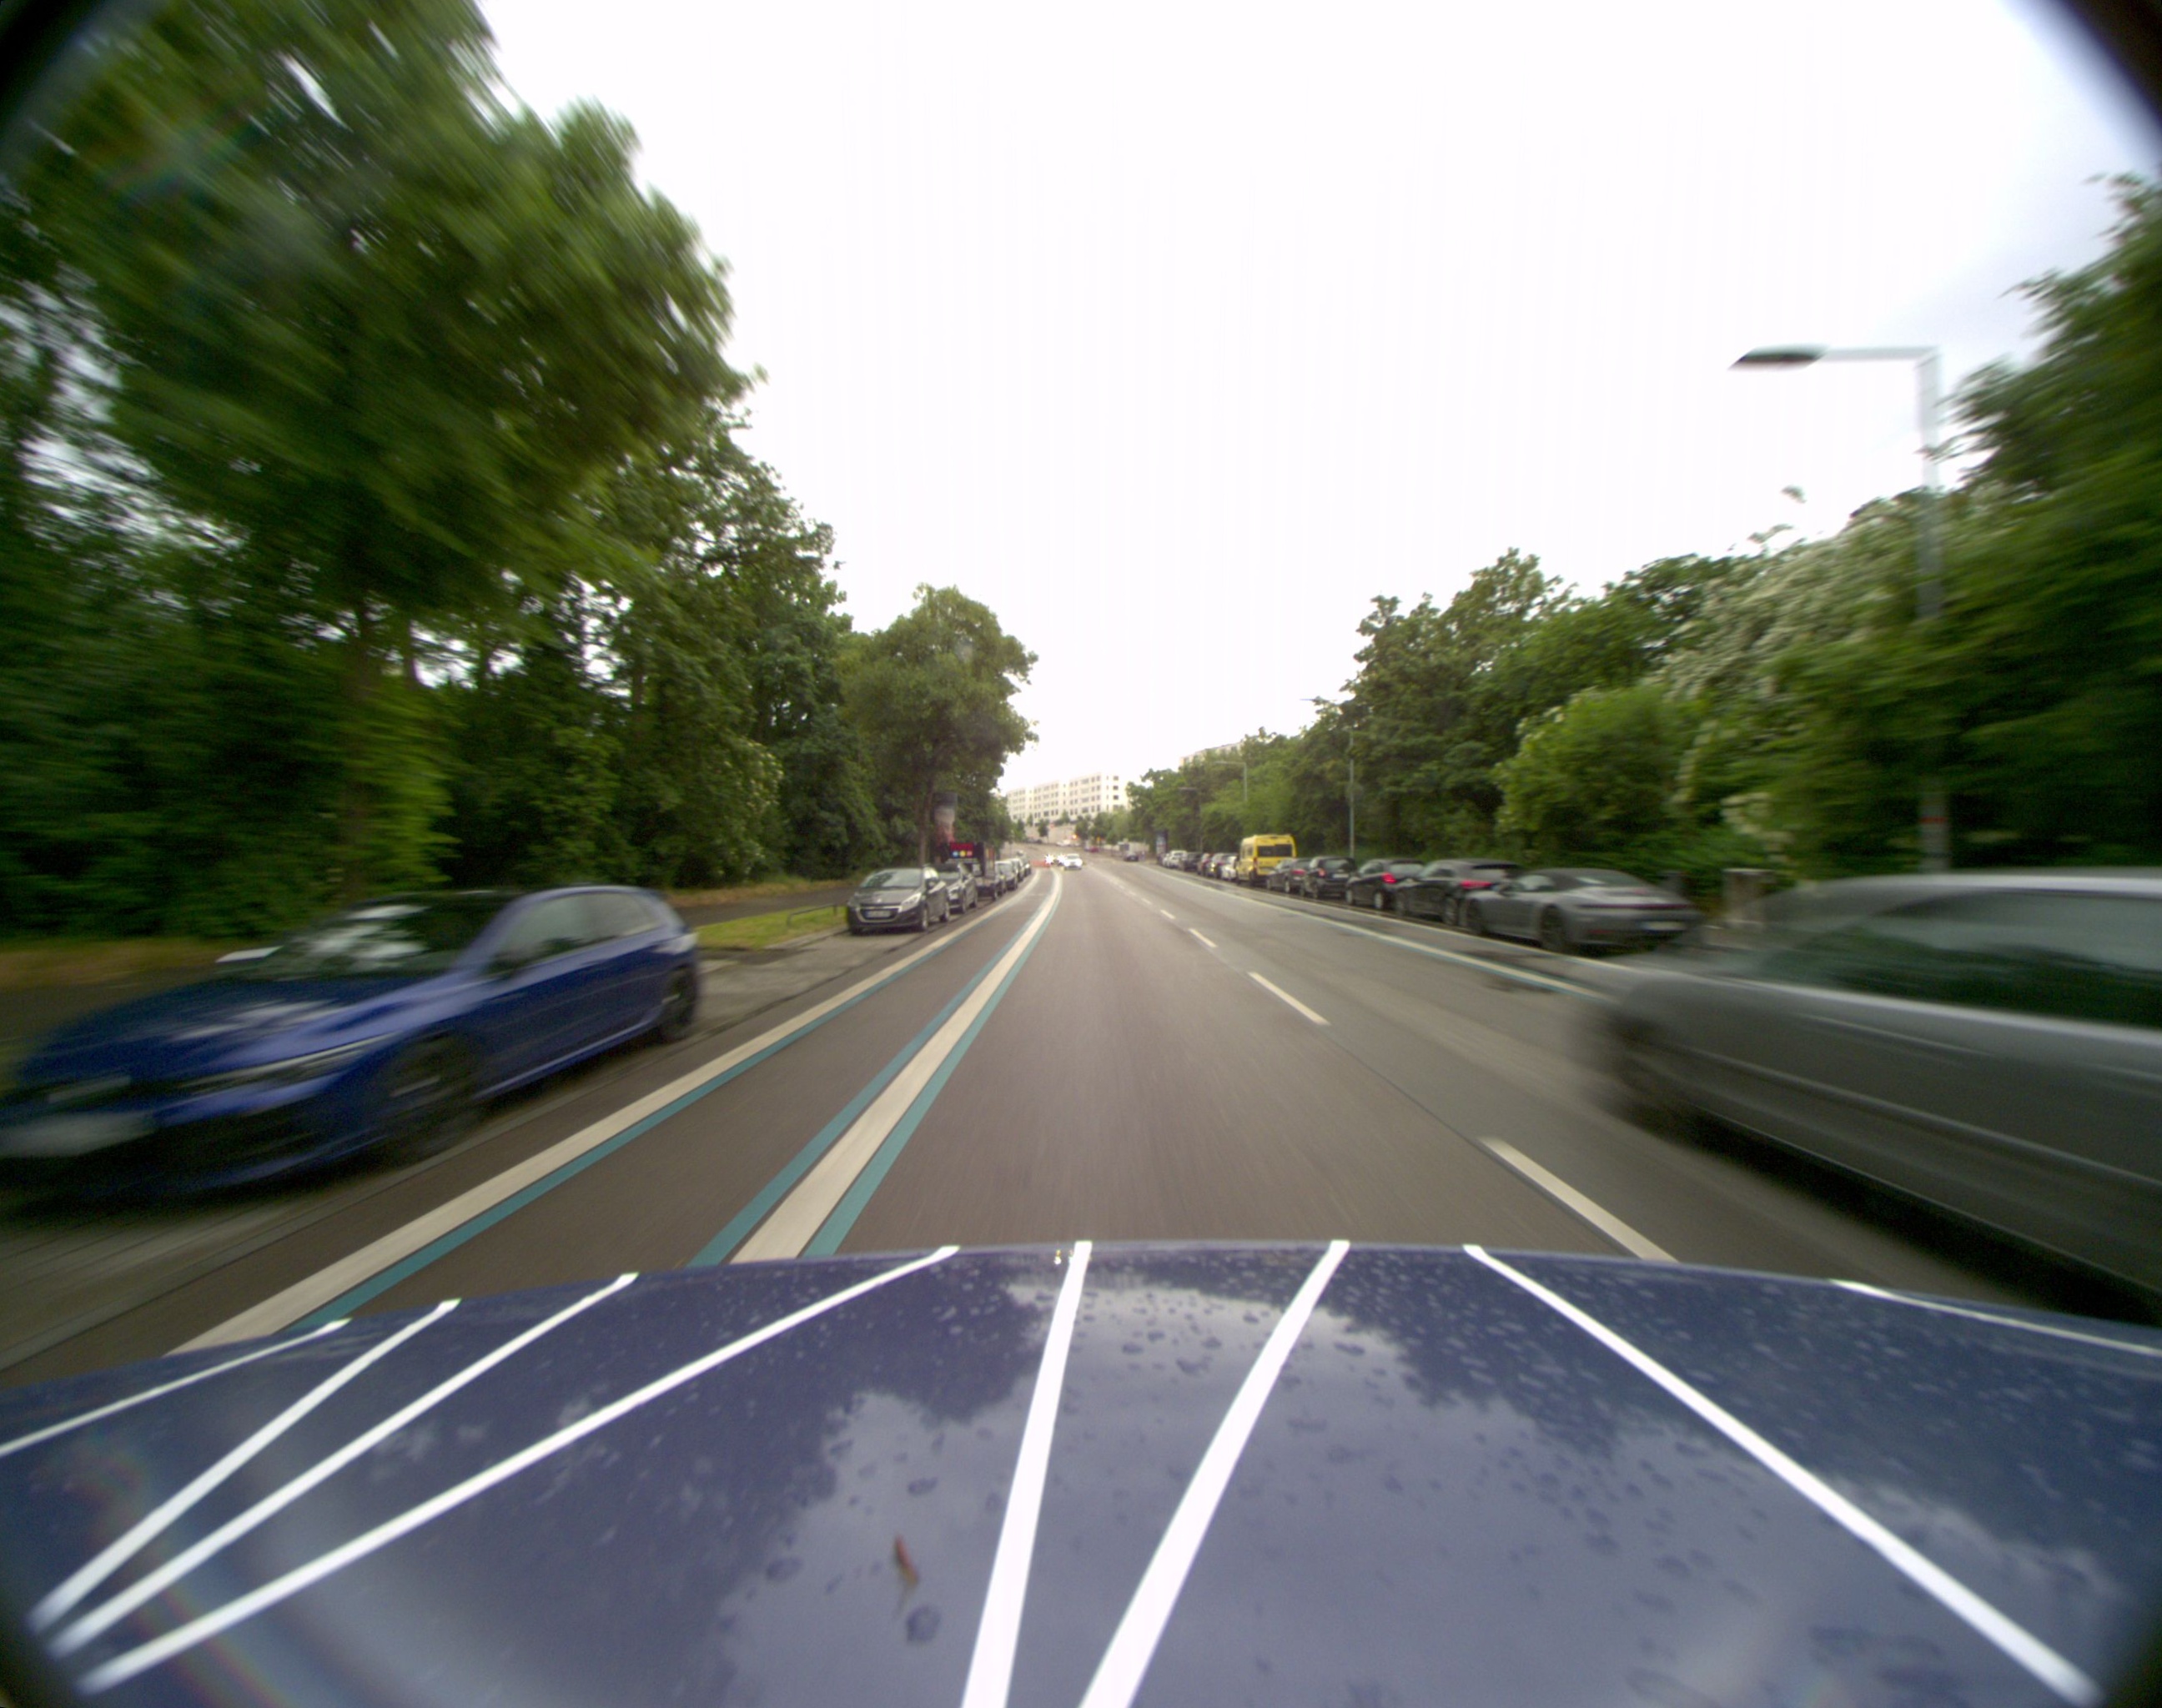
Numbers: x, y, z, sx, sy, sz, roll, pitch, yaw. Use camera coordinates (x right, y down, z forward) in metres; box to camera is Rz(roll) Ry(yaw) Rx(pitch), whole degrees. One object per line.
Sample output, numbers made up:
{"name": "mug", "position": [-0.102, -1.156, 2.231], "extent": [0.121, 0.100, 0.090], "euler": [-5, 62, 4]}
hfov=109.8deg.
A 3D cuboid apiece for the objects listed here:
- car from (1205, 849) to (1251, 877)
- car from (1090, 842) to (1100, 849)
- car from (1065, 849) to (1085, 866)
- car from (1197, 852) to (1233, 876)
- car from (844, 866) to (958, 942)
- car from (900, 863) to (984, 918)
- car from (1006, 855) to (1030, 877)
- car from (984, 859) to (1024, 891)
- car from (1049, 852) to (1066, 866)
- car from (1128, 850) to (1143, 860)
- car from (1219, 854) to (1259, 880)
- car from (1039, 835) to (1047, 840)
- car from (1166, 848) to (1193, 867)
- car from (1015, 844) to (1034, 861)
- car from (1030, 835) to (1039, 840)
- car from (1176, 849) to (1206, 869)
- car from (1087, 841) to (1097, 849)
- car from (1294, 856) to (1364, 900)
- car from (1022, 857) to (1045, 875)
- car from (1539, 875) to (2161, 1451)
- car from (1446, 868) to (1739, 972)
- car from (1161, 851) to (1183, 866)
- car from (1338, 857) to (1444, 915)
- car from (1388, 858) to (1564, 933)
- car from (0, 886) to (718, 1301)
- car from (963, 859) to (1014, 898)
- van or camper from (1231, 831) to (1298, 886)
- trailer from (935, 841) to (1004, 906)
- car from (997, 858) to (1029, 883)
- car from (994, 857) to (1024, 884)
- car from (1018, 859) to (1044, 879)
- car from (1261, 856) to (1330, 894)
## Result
{"name": "car", "position": [9.541, 0.543, 49.604], "extent": [1.999, 1.690, 4.614], "euler": [-1, 0, -1]}
{"name": "car", "position": [3.351, -1.942, 176.422], "extent": [1.670, 1.578, 4.212], "euler": [-1, 3, -8]}
{"name": "car", "position": [-0.668, 0.375, 76.707], "extent": [1.927, 1.652, 3.999], "euler": [-1, 0, -2]}
{"name": "car", "position": [9.675, 0.714, 55.071], "extent": [1.924, 1.607, 4.489], "euler": [0, 1, 1]}
{"name": "car", "position": [-4.118, 1.096, 18.036], "extent": [1.619, 1.462, 4.000], "euler": [-2, 0, 1]}
{"name": "car", "position": [-4.211, 1.062, 23.707], "extent": [1.800, 1.442, 4.428], "euler": [-1, 0, 0]}
{"name": "car", "position": [-4.543, 0.865, 55.405], "extent": [1.564, 1.452, 3.674], "euler": [-2, 1, -3]}
{"name": "car", "position": [-3.981, 1.058, 39.716], "extent": [1.756, 1.385, 4.444], "euler": [-3, 1, -3]}
{"name": "car", "position": [-2.988, 0.584, 96.436], "extent": [1.830, 1.584, 3.997], "euler": [-2, 1, -6]}
{"name": "car", "position": [8.272, 0.117, 115.271], "extent": [1.911, 1.406, 4.781], "euler": [-2, 1, 0]}
{"name": "car", "position": [9.313, 0.738, 44.968], "extent": [1.621, 1.440, 3.657], "euler": [0, 0, 1]}
{"name": "car", "position": [-12.435, -5.360, 246.257], "extent": [1.683, 1.451, 2.689], "euler": [-1, 3, -26]}
{"name": "car", "position": [9.700, 0.336, 74.912], "extent": [1.999, 1.755, 4.959], "euler": [-1, 1, 0]}
{"name": "car", "position": [-5.719, -0.149, 77.207], "extent": [1.827, 1.605, 4.249], "euler": [-3, 1, -4]}
{"name": "car", "position": [-15.387, -5.417, 251.697], "extent": [1.866, 1.470, 3.990], "euler": [-1, 3, -26]}
{"name": "car", "position": [9.582, 0.408, 66.706], "extent": [1.736, 1.639, 4.569], "euler": [-2, 1, -3]}
{"name": "car", "position": [2.625, -2.106, 182.060], "extent": [1.769, 1.644, 4.878], "euler": [-2, 3, -8]}
{"name": "car", "position": [9.065, 0.829, 27.963], "extent": [1.606, 1.501, 3.139], "euler": [-1, 0, 2]}
{"name": "car", "position": [-4.214, 1.012, 66.908], "extent": [1.858, 1.391, 4.383], "euler": [-3, 1, -4]}
{"name": "car", "position": [3.788, 0.878, 2.880], "extent": [1.703, 1.476, 4.035], "euler": [0, 0, 1]}
{"name": "car", "position": [8.097, 0.947, 12.660], "extent": [1.874, 1.296, 4.470], "euler": [-1, 0, 0]}
{"name": "car", "position": [9.639, 0.439, 80.985], "extent": [1.723, 1.452, 4.707], "euler": [-1, 0, -1]}
{"name": "car", "position": [9.056, 0.882, 22.537], "extent": [1.606, 1.501, 3.977], "euler": [-1, 0, 2]}
{"name": "car", "position": [8.816, 0.846, 17.424], "extent": [1.998, 1.444, 4.139], "euler": [-1, 0, 2]}
{"name": "car", "position": [-4.394, 1.067, 5.215], "extent": [1.686, 1.473, 4.318], "euler": [-2, 0, 0]}
{"name": "car", "position": [-4.027, 1.042, 33.657], "extent": [1.827, 1.477, 4.198], "euler": [-3, 1, -3]}
{"name": "van or camper", "position": [9.270, 0.202, 38.804], "extent": [2.149, 2.612, 5.682], "euler": [-1, 0, 1]}
{"name": "trailer", "position": [-4.166, 0.673, 29.091], "extent": [1.911, 2.234, 4.767], "euler": [-1, 0, 0]}
{"name": "car", "position": [-4.420, 1.039, 49.902], "extent": [1.663, 1.456, 3.899], "euler": [-3, 0, 0]}
{"name": "car", "position": [-4.318, 0.972, 45.762], "extent": [1.622, 1.458, 3.998], "euler": [-2, 1, -4]}
{"name": "car", "position": [-3.954, 1.168, 61.012], "extent": [1.861, 1.447, 4.750], "euler": [-2, 0, -1]}
{"name": "car", "position": [9.039, 0.847, 32.349], "extent": [1.684, 1.490, 4.148], "euler": [0, 0, -2]}
